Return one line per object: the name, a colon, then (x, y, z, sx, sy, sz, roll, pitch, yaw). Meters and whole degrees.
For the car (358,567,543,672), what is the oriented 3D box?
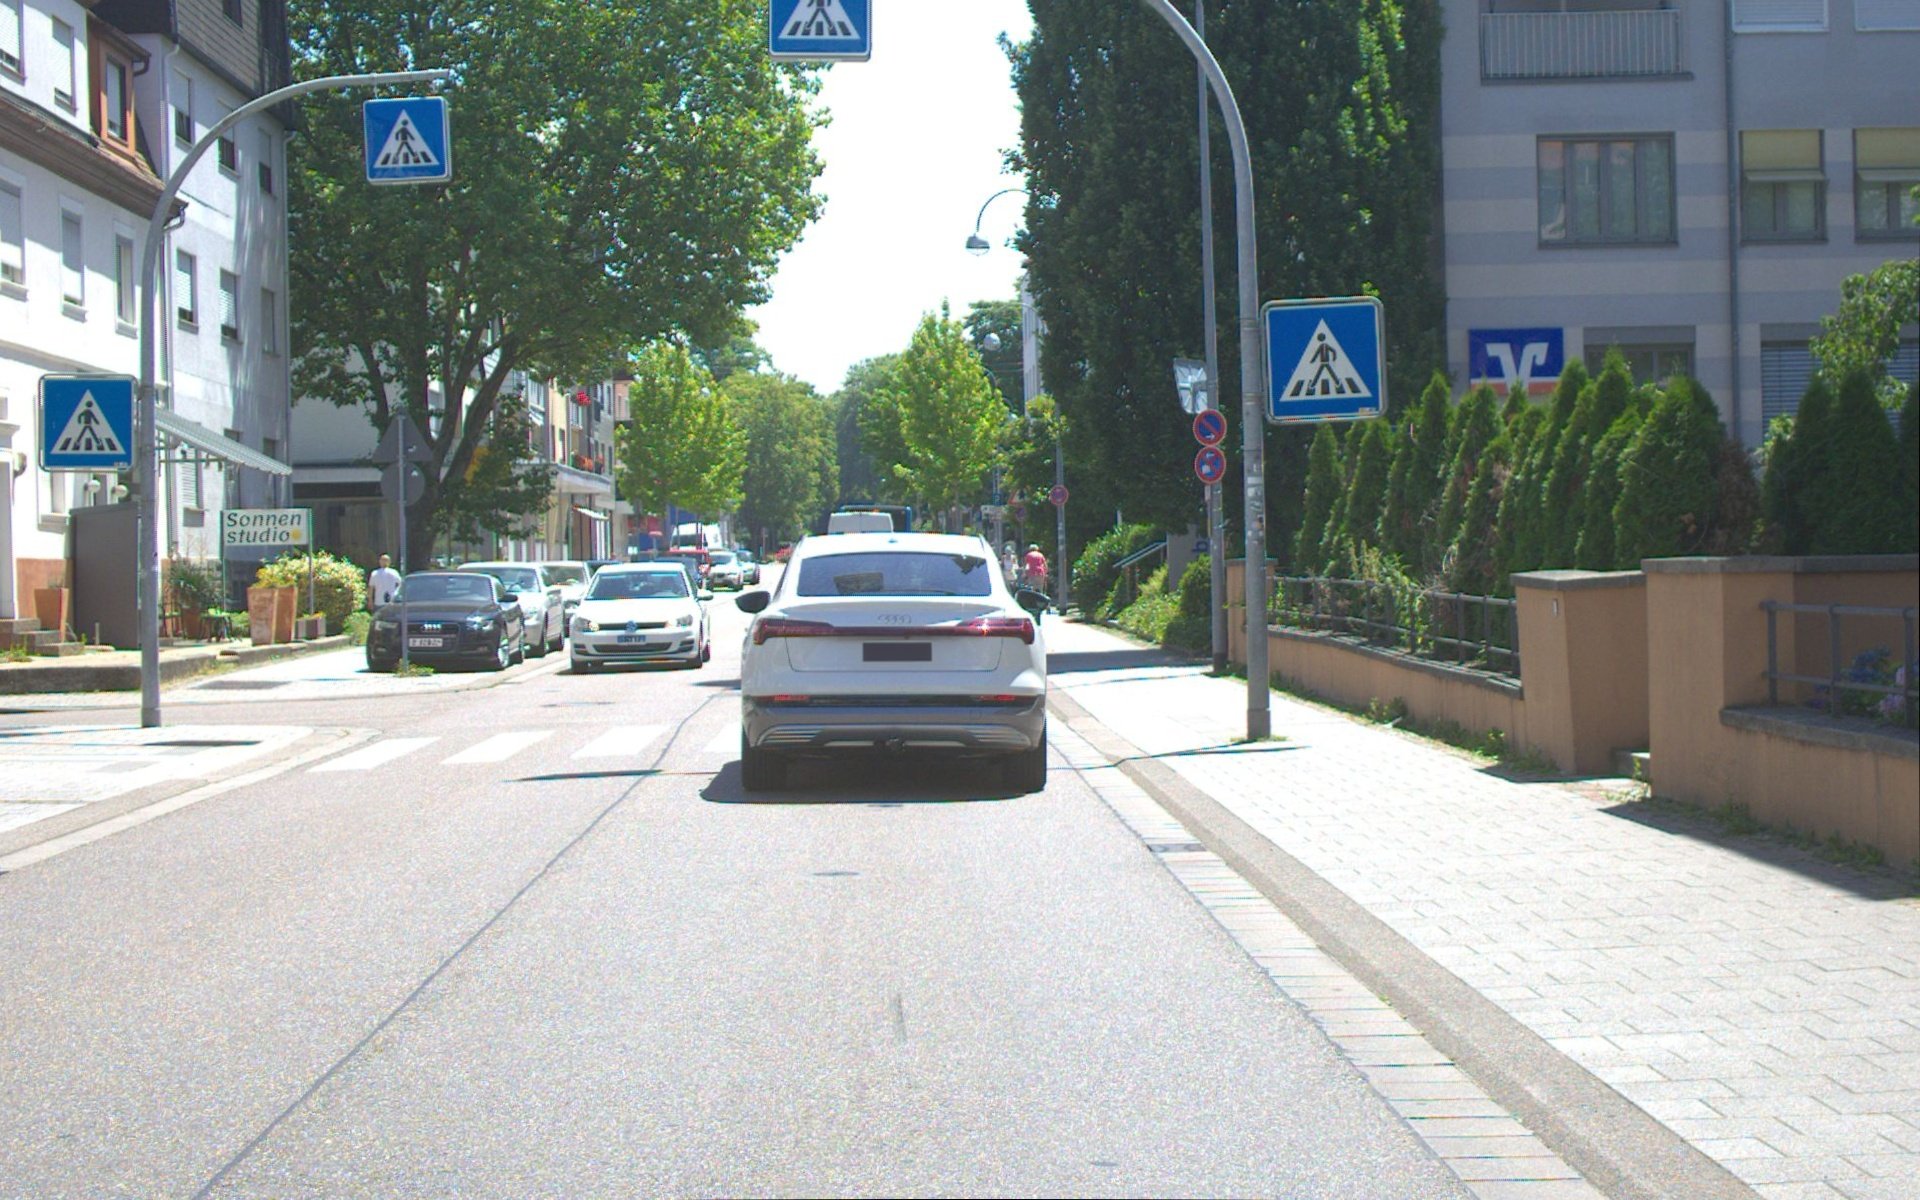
car: (-7.180, 0.235, 48.918, 1.942, 1.369, 5.098, -1, 1, -1)

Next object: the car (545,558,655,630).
car: (-7.568, -0.162, 72.603, 1.981, 1.447, 5.151, 0, 1, -2)

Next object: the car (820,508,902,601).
car: (-2.689, -1.238, 94.007, 2.156, 2.433, 5.284, 1, 0, -1)

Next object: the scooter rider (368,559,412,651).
scooter rider: (-9.951, 0.082, 60.019, 0.588, 1.570, 0.877, 1, 1, 0)

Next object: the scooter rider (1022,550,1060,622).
scooter rider: (1.772, -0.320, 75.504, 0.716, 1.543, 0.770, -2, 1, -3)

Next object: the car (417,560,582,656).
car: (-7.300, 0.091, 54.986, 1.981, 1.447, 5.358, 0, 1, -1)

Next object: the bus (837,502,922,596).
bus: (-2.793, -1.783, 121.414, 2.661, 3.210, 7.301, 1, 0, 1)

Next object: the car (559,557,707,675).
car: (-4.474, 0.193, 47.501, 1.807, 1.477, 3.870, -3, 1, -3)

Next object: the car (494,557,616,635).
car: (-7.813, -0.109, 66.702, 1.981, 1.447, 4.869, 0, 1, -2)

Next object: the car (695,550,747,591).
car: (-9.536, -1.196, 137.438, 1.752, 1.612, 4.401, 1, 1, 0)

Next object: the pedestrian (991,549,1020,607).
pedestrian: (1.311, -0.648, 99.497, 0.700, 1.621, 0.784, -4, 0, -3)

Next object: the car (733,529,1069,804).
car: (-0.438, 0.368, 22.429, 1.993, 1.627, 4.001, 0, 1, -3)

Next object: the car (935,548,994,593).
car: (0.164, -1.007, 114.939, 1.896, 1.433, 4.544, -1, 1, 0)

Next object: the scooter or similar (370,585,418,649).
scooter or similar: (-9.964, 0.293, 60.566, 0.663, 1.094, 1.028, 1, 1, 0)
